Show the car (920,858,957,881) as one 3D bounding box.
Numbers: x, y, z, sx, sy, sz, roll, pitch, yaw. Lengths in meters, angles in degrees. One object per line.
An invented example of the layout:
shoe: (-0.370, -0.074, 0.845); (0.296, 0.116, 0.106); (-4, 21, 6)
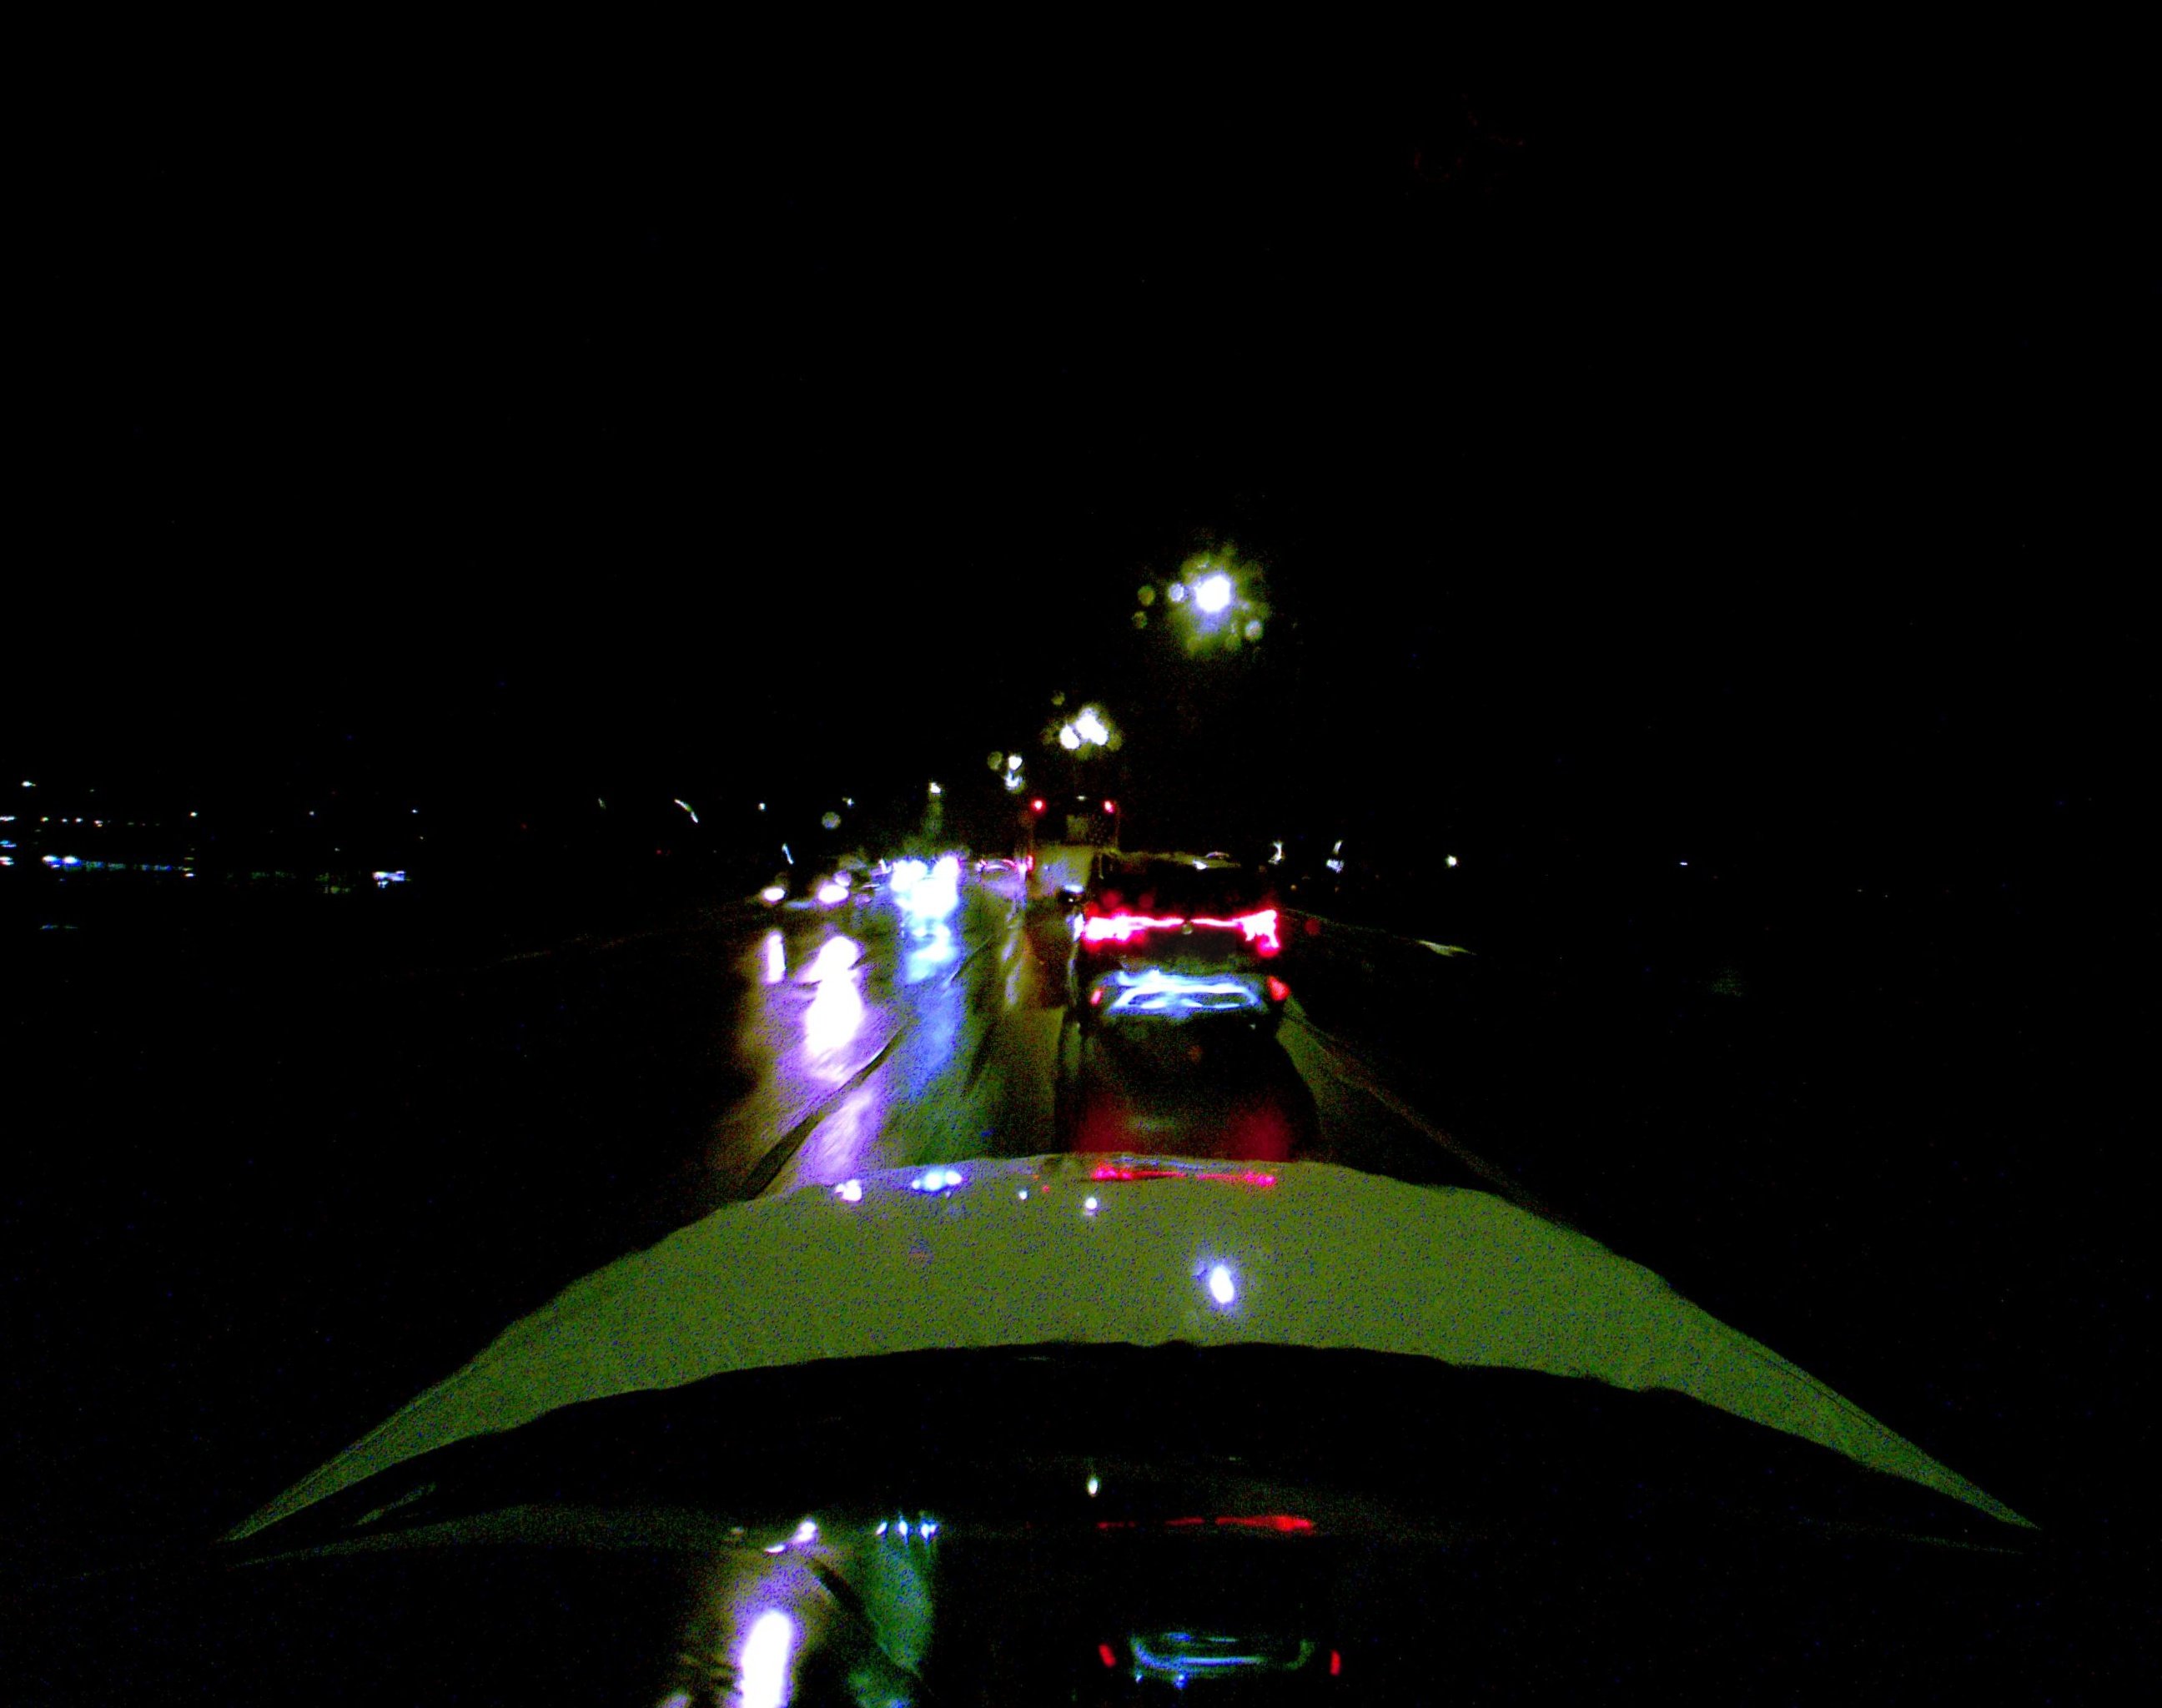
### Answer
car: (-9.450, 1.012, 53.885); (1.900, 1.439, 4.038); (0, 0, -18)

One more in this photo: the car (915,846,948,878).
car: (-7.874, 0.405, 43.087); (1.469, 1.584, 3.183); (0, 1, -7)

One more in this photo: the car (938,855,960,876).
car: (-11.810, 1.013, 72.592); (1.310, 1.659, 3.173); (6, -2, -17)

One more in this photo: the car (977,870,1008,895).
car: (-6.224, 1.956, 57.018); (1.639, 1.655, 3.691); (-1, 0, -15)

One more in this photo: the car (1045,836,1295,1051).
car: (0.589, 0.683, 8.064); (1.851, 1.586, 3.996); (1, 0, -3)

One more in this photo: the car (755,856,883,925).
car: (-6.117, 0.787, 19.518); (1.761, 1.427, 4.216); (-1, 0, -2)

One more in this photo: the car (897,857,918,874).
car: (-14.806, 0.993, 69.544); (1.684, 1.391, 4.432); (1, -1, -12)

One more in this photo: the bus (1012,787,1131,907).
bus: (-0.764, -0.232, 27.659); (3.079, 3.132, 12.674); (0, 1, -5)

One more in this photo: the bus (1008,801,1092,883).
bus: (-1.649, -0.570, 37.952); (3.045, 3.131, 8.061); (6, 0, -6)
